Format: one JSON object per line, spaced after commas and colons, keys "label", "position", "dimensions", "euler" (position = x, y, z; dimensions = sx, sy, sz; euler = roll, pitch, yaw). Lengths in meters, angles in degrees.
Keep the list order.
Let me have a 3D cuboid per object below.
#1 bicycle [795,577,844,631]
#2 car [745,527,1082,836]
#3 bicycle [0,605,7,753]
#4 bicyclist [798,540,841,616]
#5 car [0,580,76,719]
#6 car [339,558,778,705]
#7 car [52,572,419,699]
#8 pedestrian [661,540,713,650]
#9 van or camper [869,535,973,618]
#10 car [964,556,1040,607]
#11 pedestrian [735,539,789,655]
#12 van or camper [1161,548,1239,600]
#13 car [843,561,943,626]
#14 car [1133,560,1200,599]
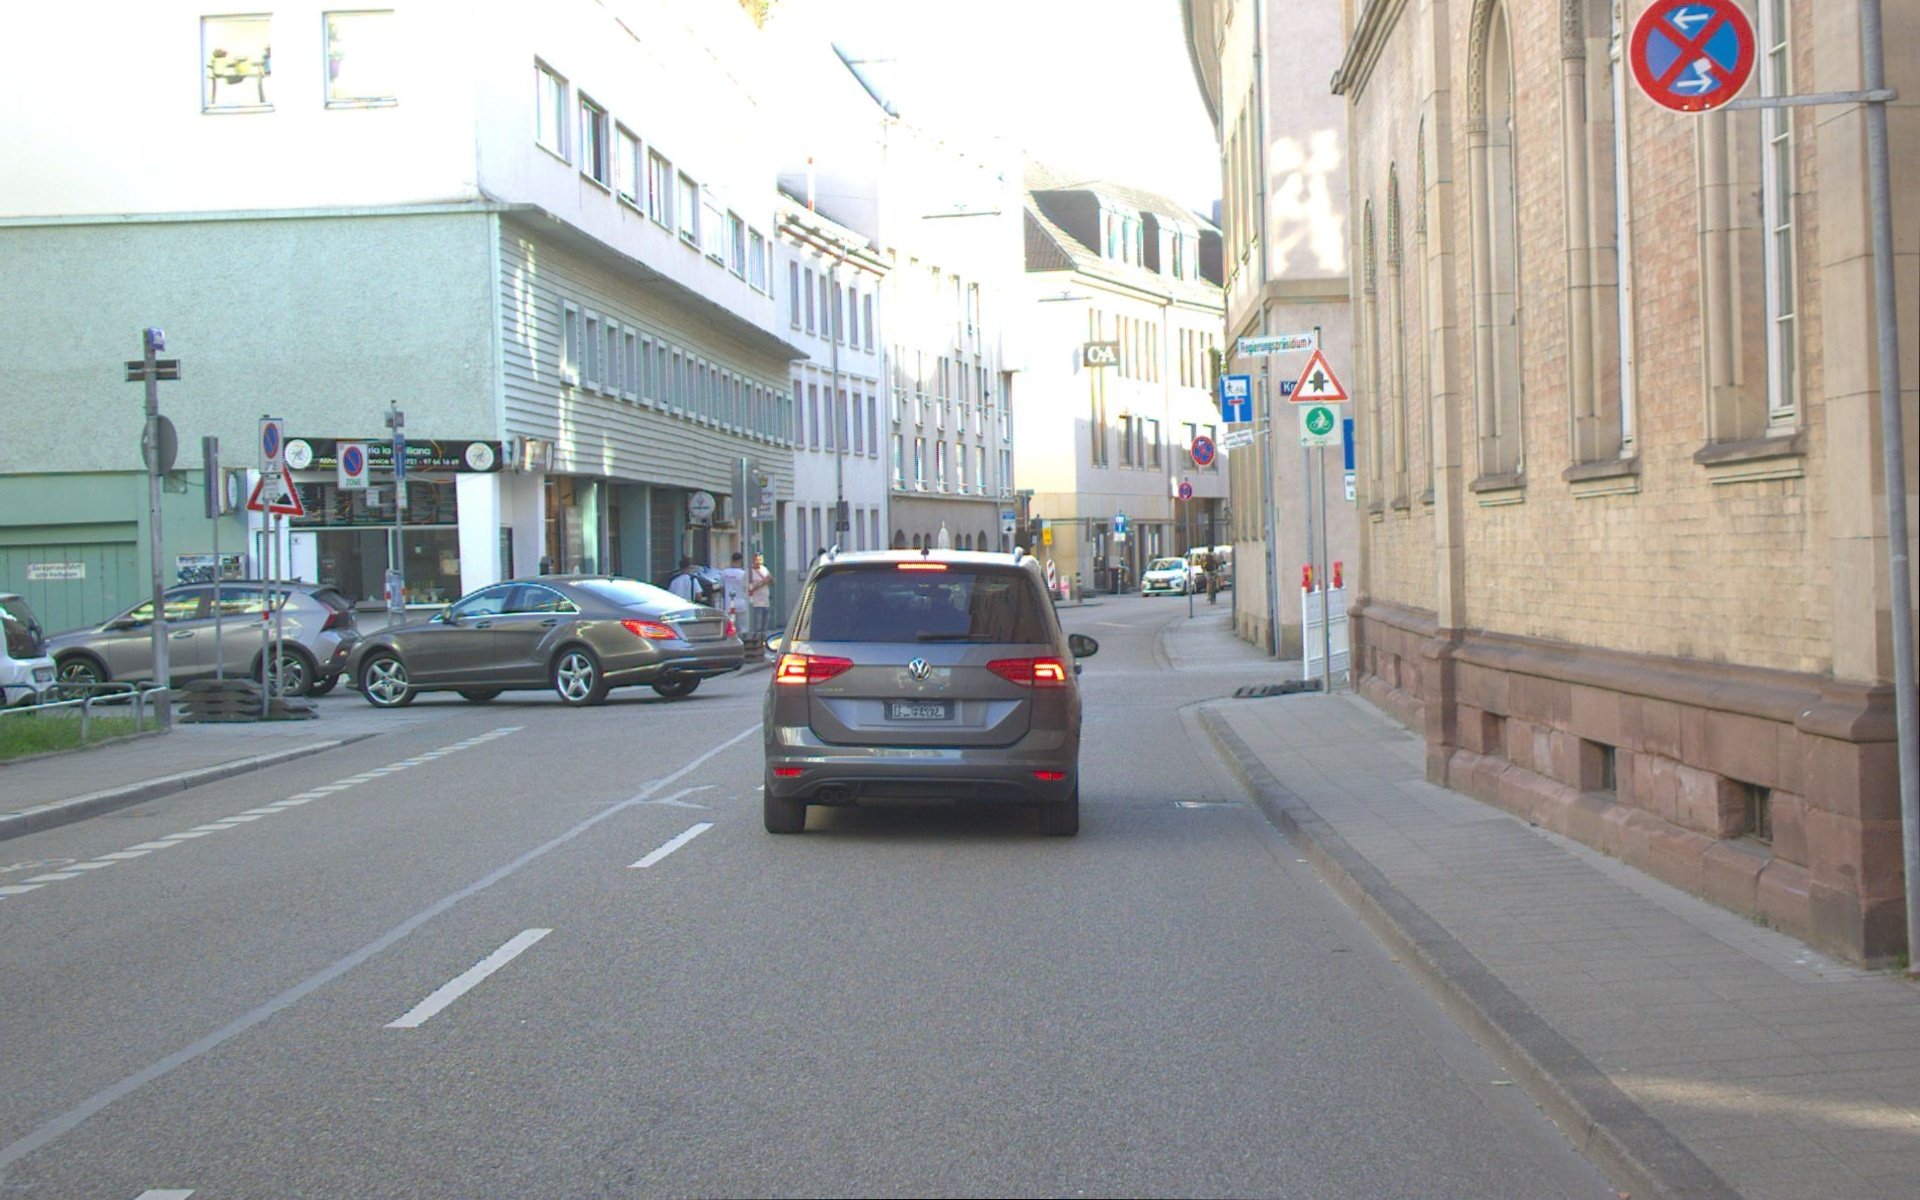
{"label": "bicycle", "position": [-2.886, 0.070, 70.793], "dimensions": [0.831, 1.050, 2.549], "euler": [-1, 1, 1]}
{"label": "car", "position": [-0.216, 0.414, 20.460], "dimensions": [1.762, 1.601, 4.000], "euler": [2, 1, 1]}
{"label": "bicycle", "position": [-8.567, 0.604, 27.109], "dimensions": [1.928, 1.175, 0.613], "euler": [2, 0, -7]}
{"label": "bicyclist", "position": [-2.895, -0.463, 70.848], "dimensions": [0.831, 1.556, 0.759], "euler": [-1, 1, 1]}
{"label": "car", "position": [-11.628, 0.561, 37.328], "dimensions": [3.501, 1.438, 1.813], "euler": [-1, 1, 3]}
{"label": "car", "position": [-4.512, 0.339, 38.446], "dimensions": [4.622, 1.536, 1.996], "euler": [0, 1, 32]}
{"label": "car", "position": [-9.042, 0.429, 43.114], "dimensions": [4.098, 1.438, 1.947], "euler": [-1, 1, 3]}
{"label": "pedestrian", "position": [-4.559, -0.089, 57.402], "dimensions": [0.556, 1.823, 0.730], "euler": [-1, 1, 25]}
{"label": "van or camper", "position": [-0.950, -0.600, 86.641], "dimensions": [1.994, 2.007, 4.482], "euler": [-1, 1, 7]}
{"label": "car", "position": [1.281, -0.560, 102.757], "dimensions": [1.866, 1.463, 3.833], "euler": [-1, 1, 6]}
{"label": "pedestrian", "position": [-3.132, -0.055, 54.448], "dimensions": [0.556, 1.823, 0.730], "euler": [-1, 1, 25]}
{"label": "van or camper", "position": [9.678, -1.050, 138.469], "dimensions": [1.995, 2.007, 4.994], "euler": [0, 1, 17]}
{"label": "car", "position": [-1.553, -0.170, 80.928], "dimensions": [1.866, 1.463, 3.833], "euler": [-1, 1, 6]}
{"label": "car", "position": [7.996, -0.805, 132.793], "dimensions": [1.735, 1.463, 3.997], "euler": [-1, 1, 16]}
